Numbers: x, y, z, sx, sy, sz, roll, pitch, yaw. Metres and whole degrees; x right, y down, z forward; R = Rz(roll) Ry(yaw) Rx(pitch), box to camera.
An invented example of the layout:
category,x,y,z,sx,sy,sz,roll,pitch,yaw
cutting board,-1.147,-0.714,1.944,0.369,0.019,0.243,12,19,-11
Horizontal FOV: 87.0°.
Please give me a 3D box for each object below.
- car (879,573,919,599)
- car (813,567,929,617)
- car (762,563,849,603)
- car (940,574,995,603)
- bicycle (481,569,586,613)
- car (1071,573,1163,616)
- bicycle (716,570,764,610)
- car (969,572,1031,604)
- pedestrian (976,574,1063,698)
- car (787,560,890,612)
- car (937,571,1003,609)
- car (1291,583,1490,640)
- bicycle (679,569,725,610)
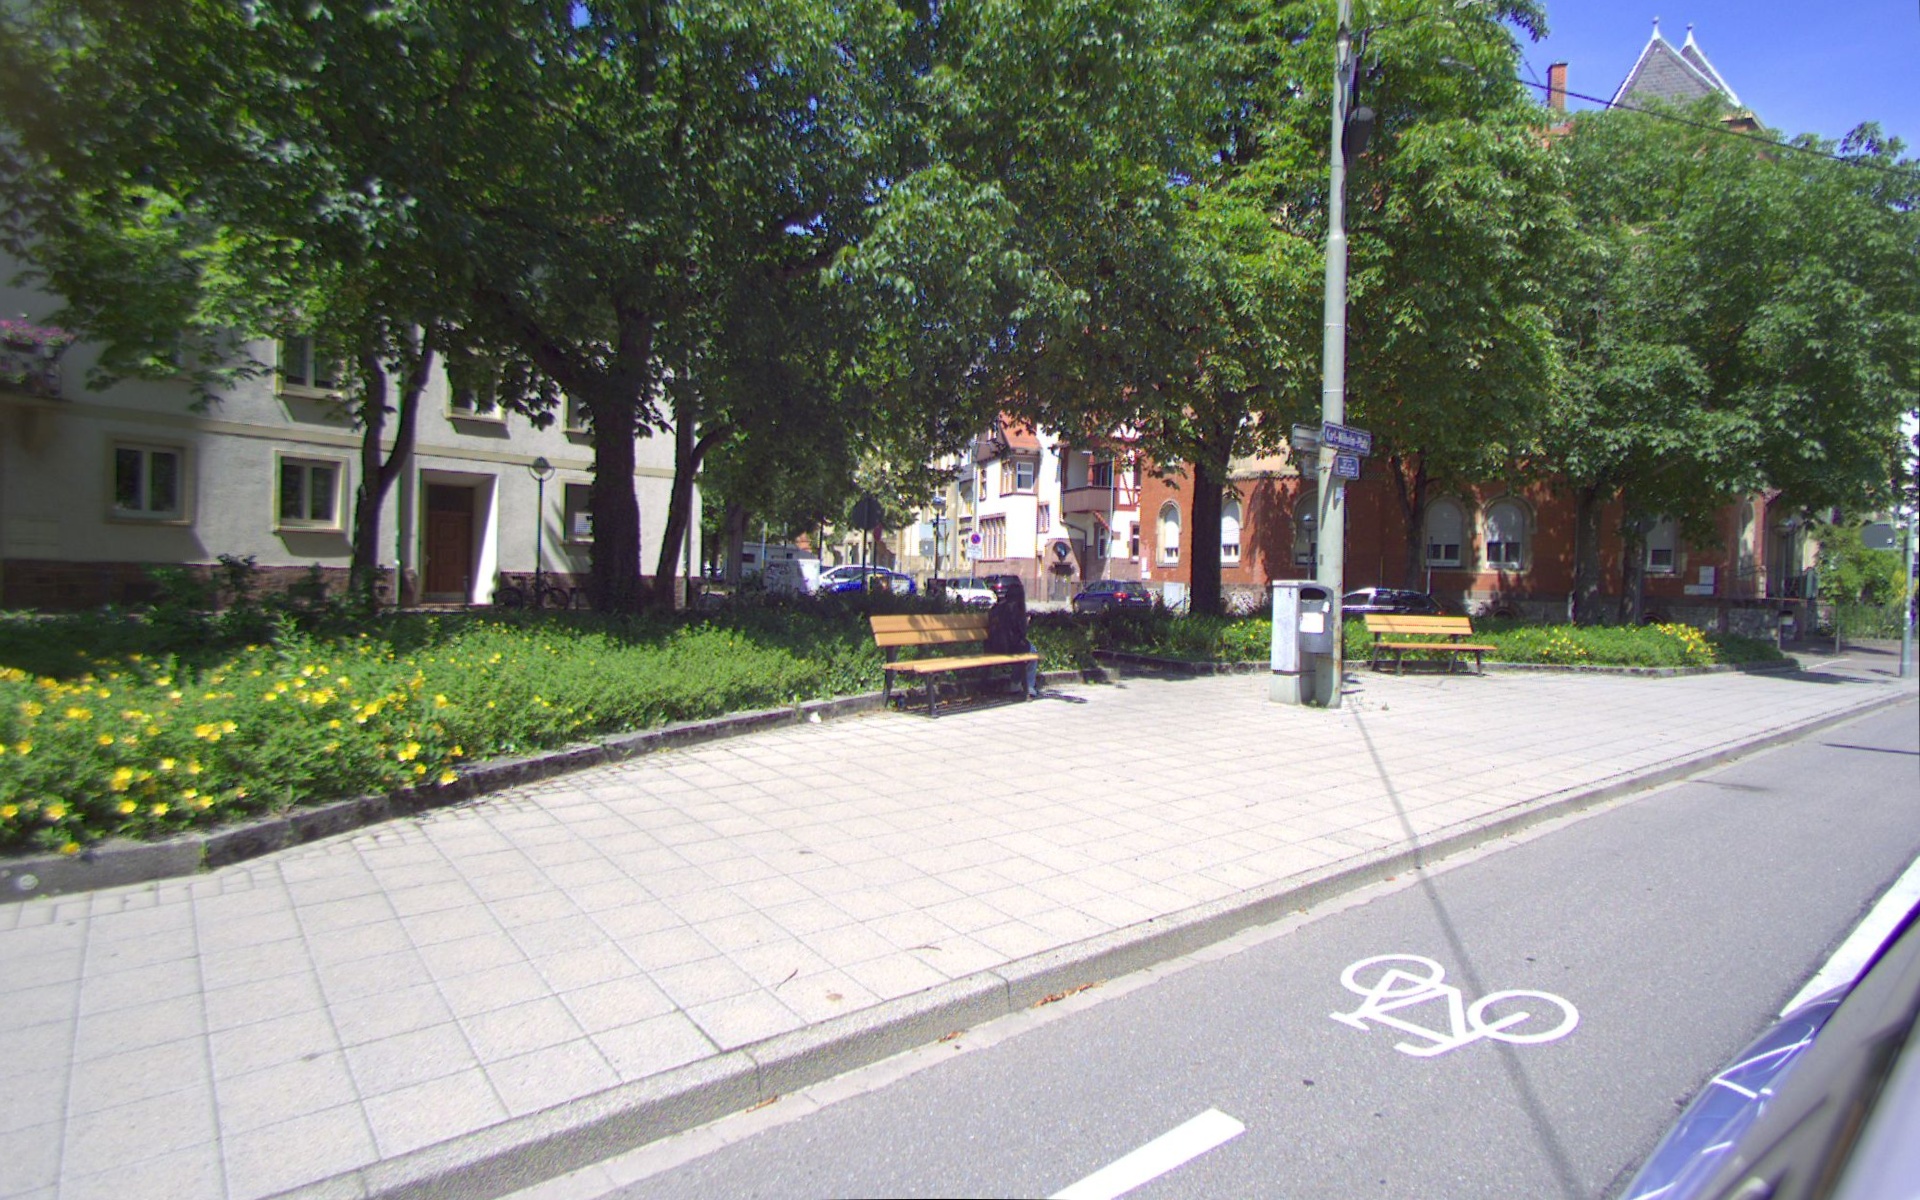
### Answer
category,x,y,z,sx,sy,sz,roll,pitch,yaw
car,-4.506,-1.009,74.466,1.897,1.897,4.318,0,0,-19
car,-3.547,-0.324,40.021,4.219,1.903,1.942,0,0,-18
car,-8.087,-0.885,52.943,4.219,2.029,1.942,0,0,-18
car,0.377,-0.657,58.687,1.897,1.638,4.318,0,0,-19
bicycle,-10.254,-0.224,24.380,2.230,1.024,0.751,-1,0,-41
car,6.273,-0.235,41.031,1.897,1.638,4.318,0,0,-19
bicycle,-5.870,-0.270,26.908,0.736,1.024,2.273,0,0,-26
car,2.063,-0.622,54.080,1.897,1.638,4.318,0,0,-19
pedestrian,0.597,0.335,10.079,0.562,1.156,0.718,3,2,33
car,-5.374,-0.630,44.833,4.219,2.219,1.942,0,0,-18
car,0.400,-0.448,43.549,1.669,1.525,3.660,1,1,-19
car,12.001,0.301,28.472,4.978,1.501,1.923,0,0,23
bicycle,-6.777,-0.261,26.480,0.736,1.024,2.273,0,0,-26
